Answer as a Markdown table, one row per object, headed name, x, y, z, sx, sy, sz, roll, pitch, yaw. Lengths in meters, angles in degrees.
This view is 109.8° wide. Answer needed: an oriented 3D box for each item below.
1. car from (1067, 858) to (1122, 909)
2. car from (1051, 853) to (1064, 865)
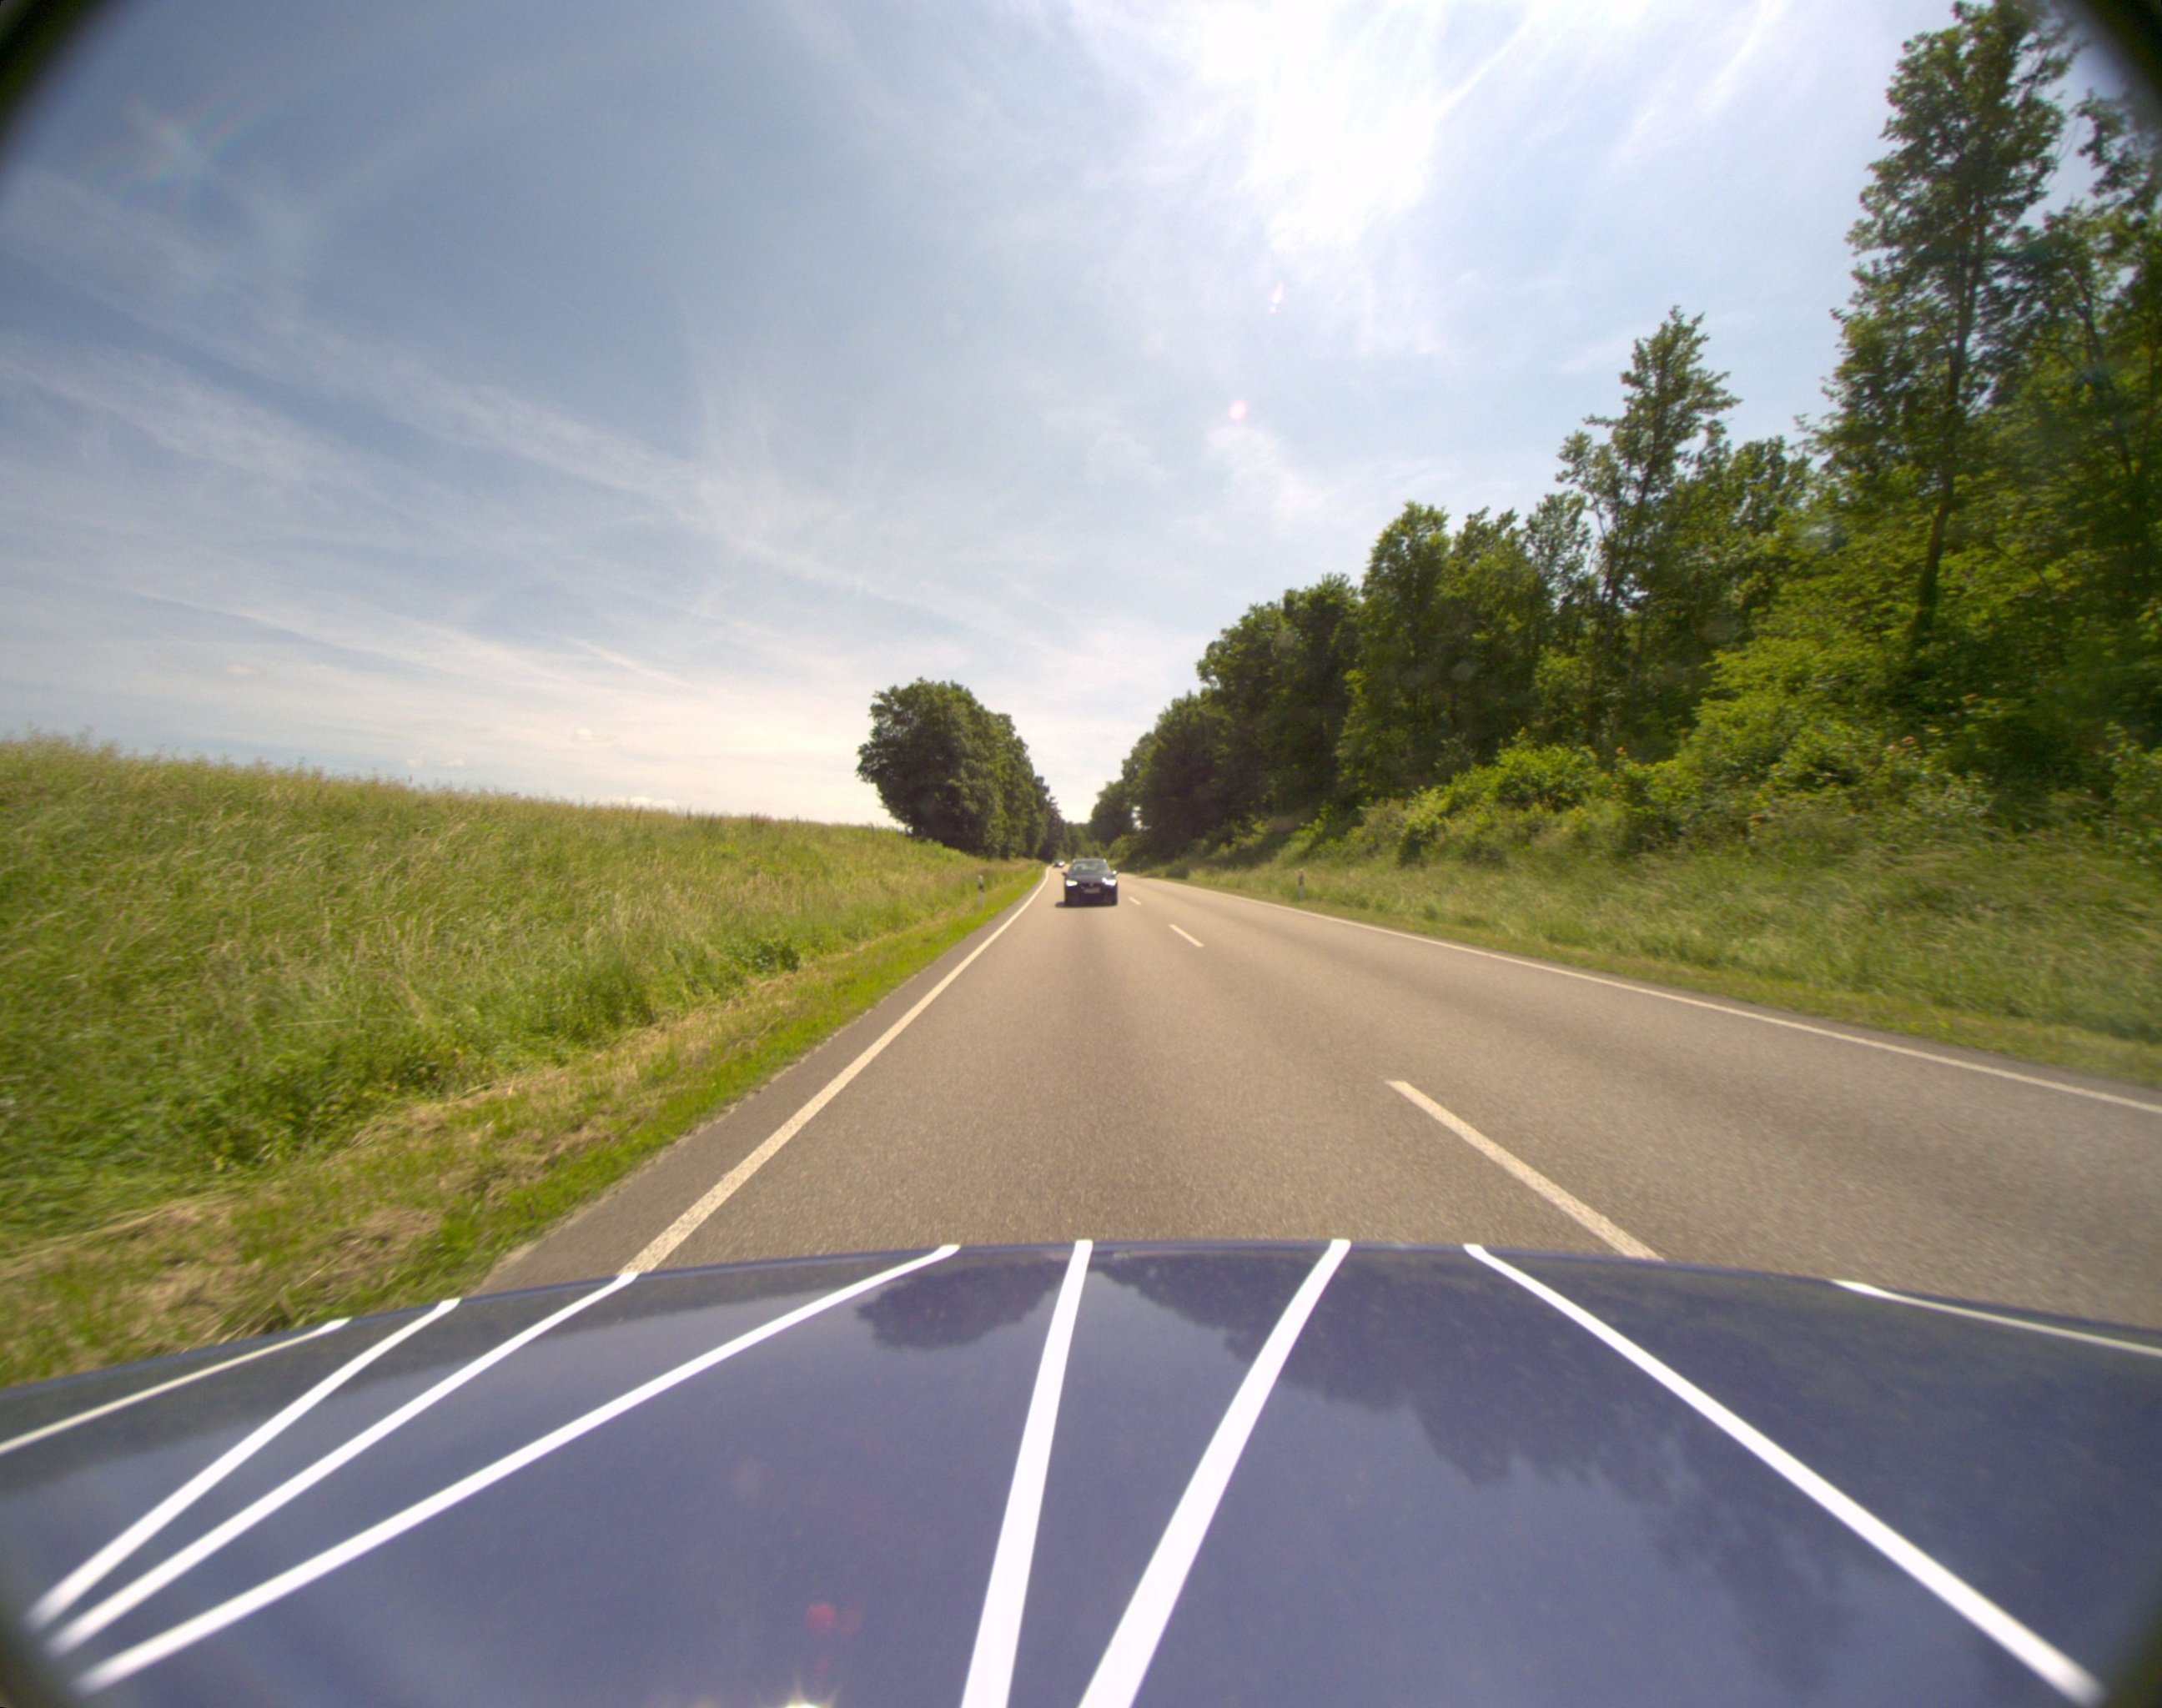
| name | x | y | z | sx | sy | sz | roll | pitch | yaw |
| --- | --- | --- | --- | --- | --- | --- | --- | --- | --- |
| car | 0.457 | 0.940 | 25.767 | 1.662 | 1.531 | 3.487 | -2 | 0 | 1 |
| car | -4.137 | 0.864 | 133.475 | 1.999 | 2.002 | 3.998 | -4 | 0 | -4 |
